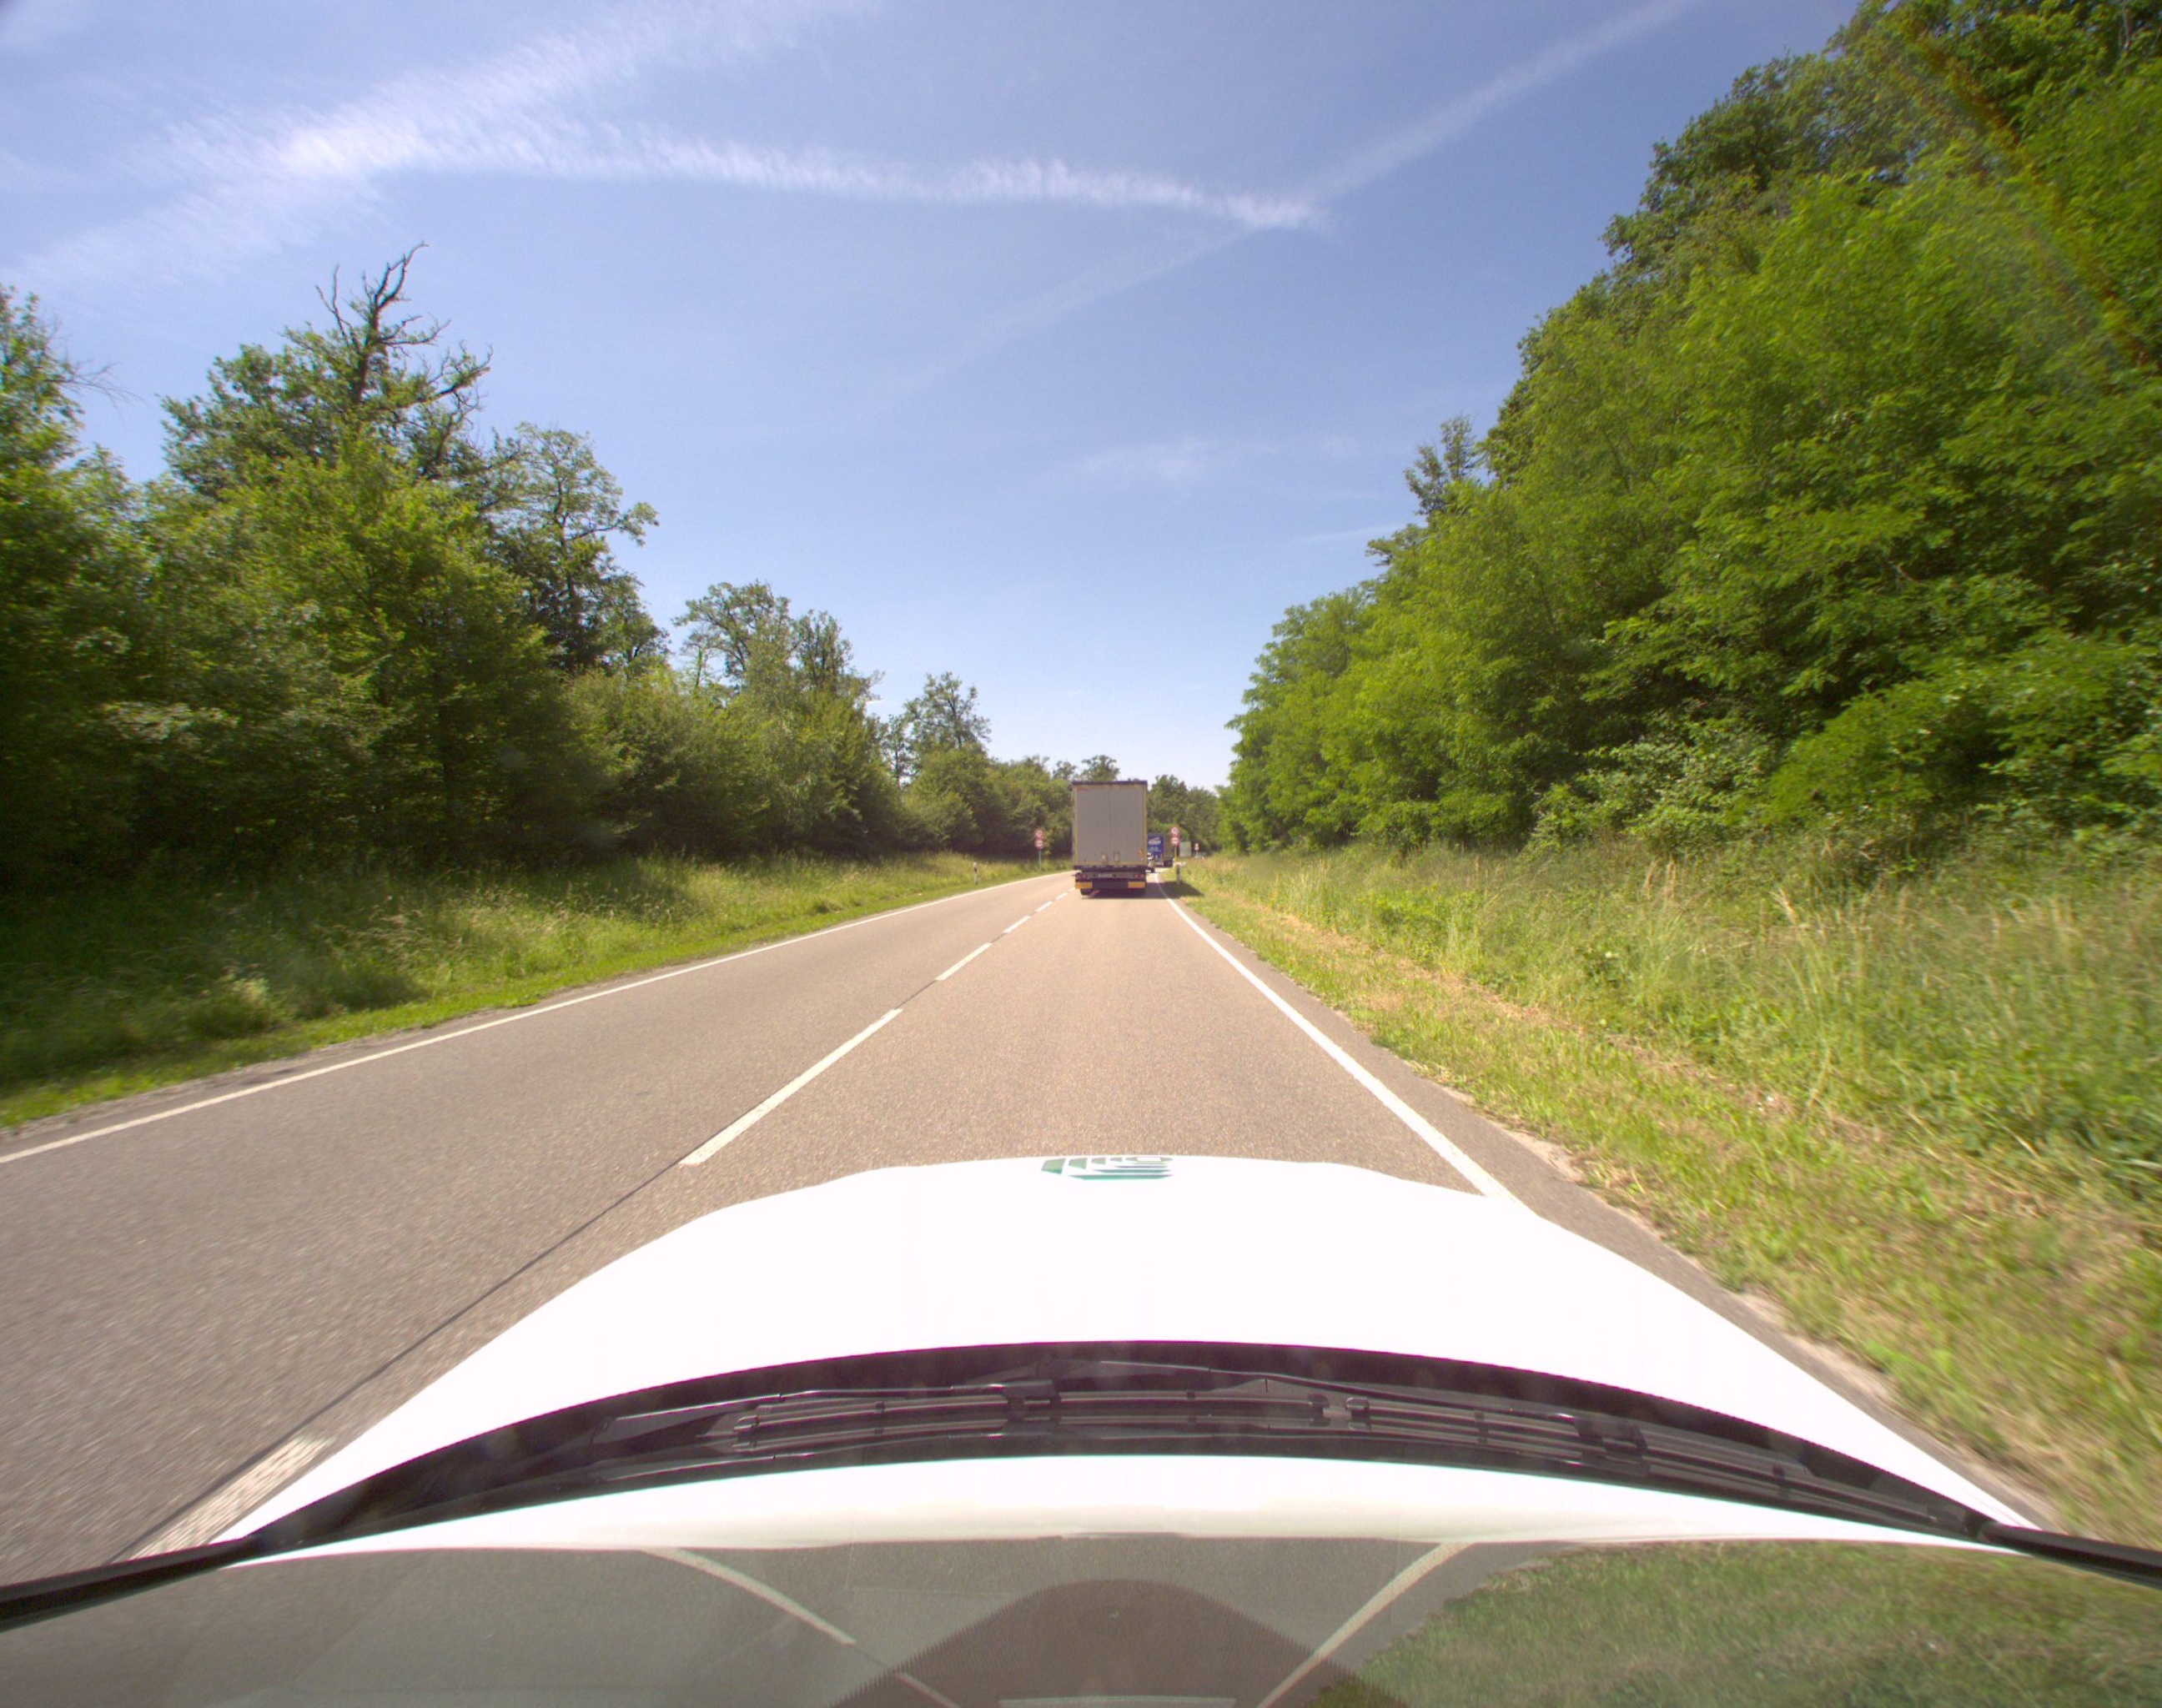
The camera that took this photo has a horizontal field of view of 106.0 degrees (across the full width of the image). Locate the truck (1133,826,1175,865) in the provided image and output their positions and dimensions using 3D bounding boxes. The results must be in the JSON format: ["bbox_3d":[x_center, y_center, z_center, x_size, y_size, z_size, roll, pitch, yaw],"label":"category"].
[{"bbox_3d":[9.180,-0.998,100.953,3.770,4.373,14.962,-1,0,10],"label":"truck"}]

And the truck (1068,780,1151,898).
[{"bbox_3d":[1.206,-0.530,33.366,2.750,3.947,12.204,0,0,2],"label":"truck"}]

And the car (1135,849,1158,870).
[{"bbox_3d":[5.530,0.453,68.602,1.761,1.708,4.007,-1,0,6],"label":"car"}]
